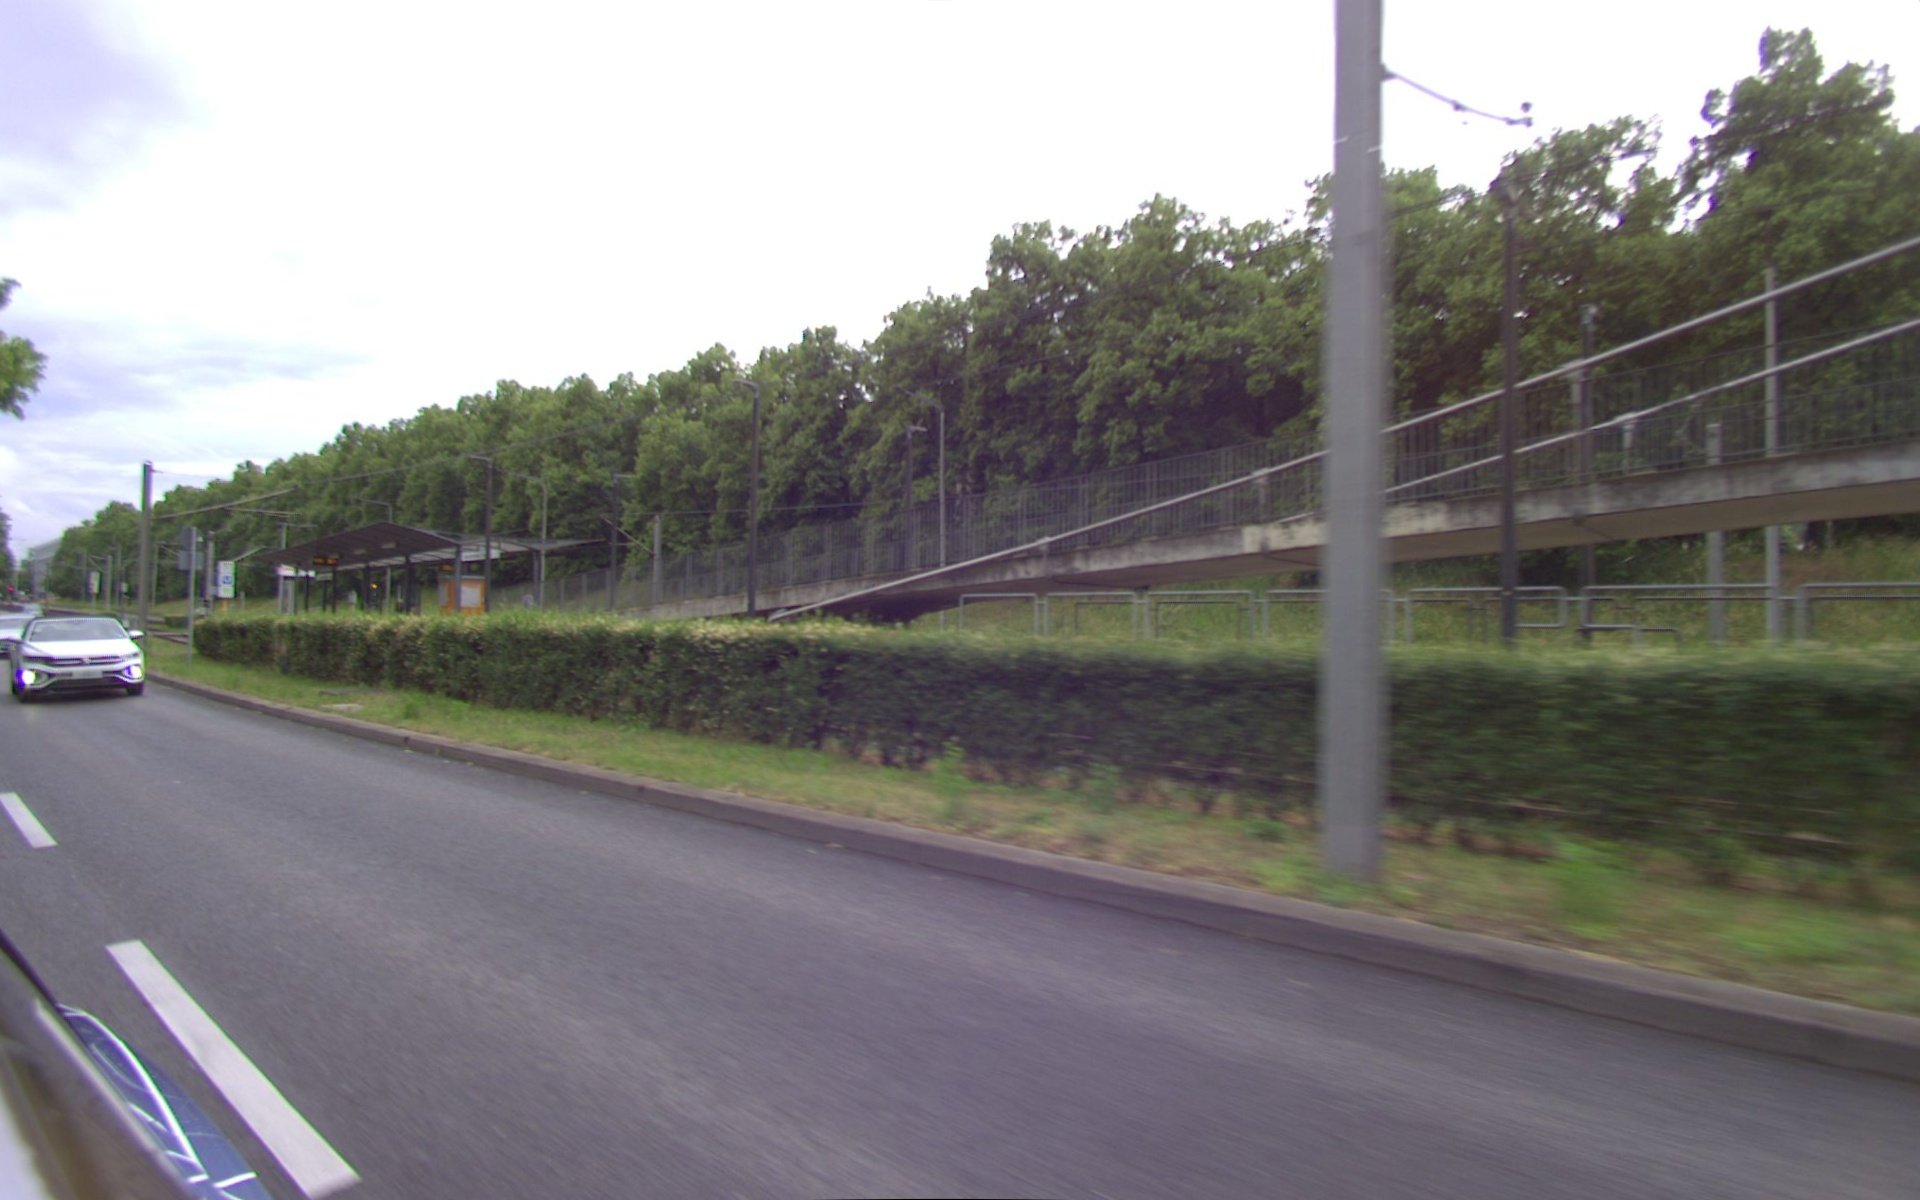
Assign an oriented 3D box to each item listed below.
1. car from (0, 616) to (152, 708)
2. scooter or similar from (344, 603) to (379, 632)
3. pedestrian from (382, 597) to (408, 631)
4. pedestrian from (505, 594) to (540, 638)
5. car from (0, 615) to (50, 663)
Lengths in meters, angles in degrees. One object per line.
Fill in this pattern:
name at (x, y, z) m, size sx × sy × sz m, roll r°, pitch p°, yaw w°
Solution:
car at (-17.149, 1.091, 19.514) m, size 1.933 × 1.476 × 4.702 m, roll -1°, pitch 1°, yaw -45°
scooter or similar at (-25.702, 0.753, 43.447) m, size 1.282 × 1.227 × 0.379 m, roll 0°, pitch 1°, yaw 1°
pedestrian at (-22.879, 0.579, 40.998) m, size 0.692 × 1.366 × 0.744 m, roll -1°, pitch -1°, yaw 43°
pedestrian at (-16.559, 0.602, 38.283) m, size 0.924 × 1.623 × 1.028 m, roll 1°, pitch -1°, yaw -43°
car at (-32.682, 1.313, 34.795) m, size 1.932 × 1.492 × 4.703 m, roll -1°, pitch 0°, yaw -44°
